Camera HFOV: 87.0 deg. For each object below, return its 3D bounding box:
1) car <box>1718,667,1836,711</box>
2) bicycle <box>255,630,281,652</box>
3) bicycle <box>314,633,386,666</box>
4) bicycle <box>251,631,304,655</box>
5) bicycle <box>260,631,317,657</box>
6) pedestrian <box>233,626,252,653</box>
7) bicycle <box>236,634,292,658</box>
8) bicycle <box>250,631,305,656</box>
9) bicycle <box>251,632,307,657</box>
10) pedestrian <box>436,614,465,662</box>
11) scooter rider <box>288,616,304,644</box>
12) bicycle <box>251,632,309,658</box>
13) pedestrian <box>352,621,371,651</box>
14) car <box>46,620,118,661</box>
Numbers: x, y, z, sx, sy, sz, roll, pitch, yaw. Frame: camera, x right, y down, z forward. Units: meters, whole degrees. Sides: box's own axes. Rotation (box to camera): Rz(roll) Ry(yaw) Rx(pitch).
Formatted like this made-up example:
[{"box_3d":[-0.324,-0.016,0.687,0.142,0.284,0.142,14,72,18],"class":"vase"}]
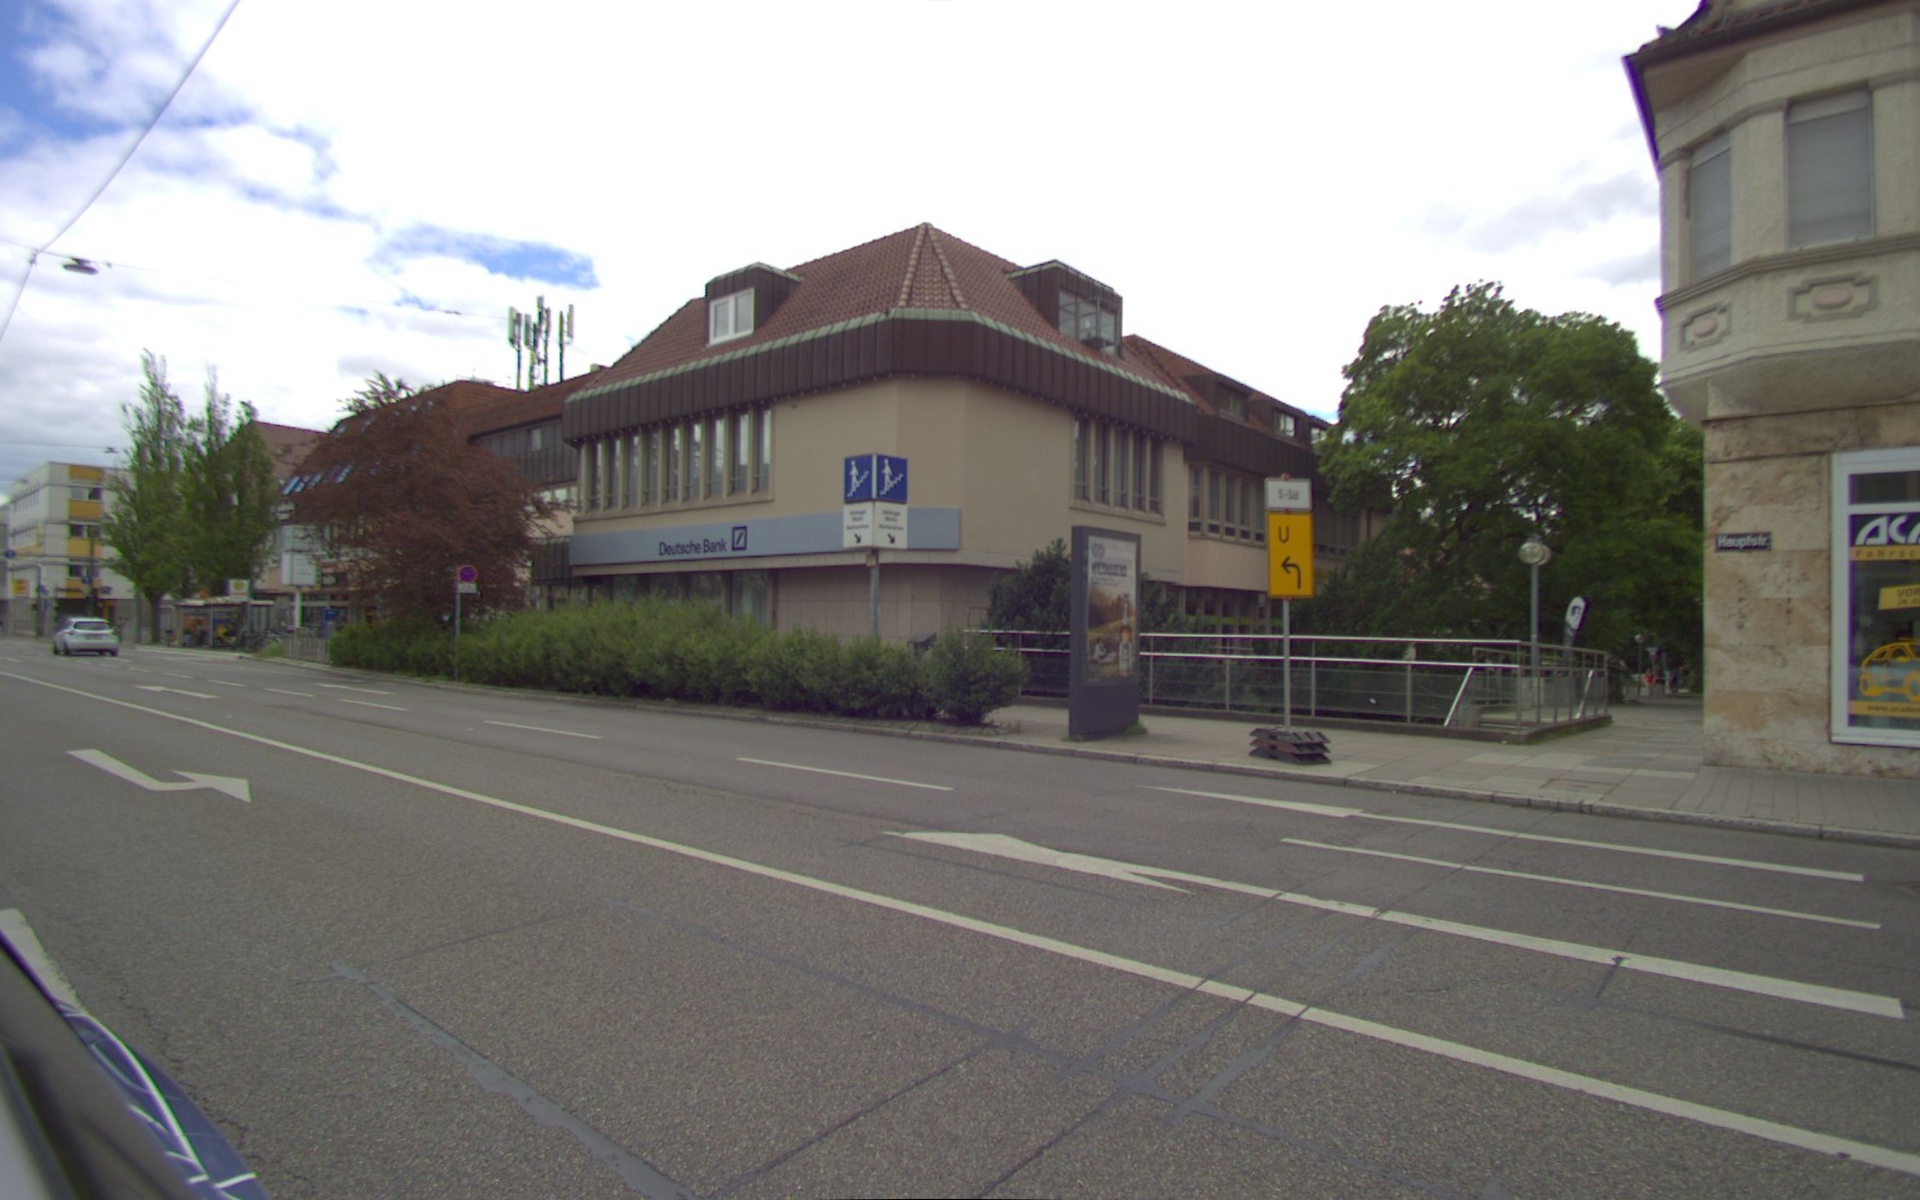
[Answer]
[{"box_3d":[31.770,3.418,39.414,3.505,1.535,1.600,-1,-3,41],"class":"car"},{"box_3d":[-35.621,2.111,52.076,1.928,1.098,0.528,-1,-2,39],"class":"bicycle"},{"box_3d":[-20.451,1.647,33.982,0.646,1.098,2.003,-1,-2,31],"class":"bicycle"},{"box_3d":[-32.406,2.038,48.073,0.645,1.098,2.006,-1,-1,26],"class":"bicycle"},{"box_3d":[-29.878,1.944,45.051,0.646,1.098,2.003,-1,-2,31],"class":"bicycle"},{"box_3d":[-37.031,2.054,52.218,0.588,1.374,0.704,-2,-2,42],"class":"pedestrian"},{"box_3d":[-32.213,2.118,46.862,0.648,1.098,2.000,-1,-2,35],"class":"bicycle"},{"box_3d":[-31.260,1.977,46.360,0.646,1.098,2.003,-1,-2,31],"class":"bicycle"},{"box_3d":[-30.520,1.980,45.366,0.646,1.098,2.003,-1,-2,31],"class":"bicycle"},{"box_3d":[-19.646,1.451,39.016,0.756,1.777,0.717,-2,1,45],"class":"pedestrian"},{"box_3d":[-41.344,1.854,63.009,0.587,1.725,0.607,-2,0,37],"class":"scooter rider"},{"box_3d":[-29.562,1.935,44.046,0.646,1.098,2.003,-1,-2,31],"class":"bicycle"},{"box_3d":[-31.625,1.904,53.456,0.587,1.559,0.704,-2,-2,39],"class":"pedestrian"},{"box_3d":[-36.499,1.670,42.049,3.924,1.580,1.623,-1,-5,41],"class":"car"}]
